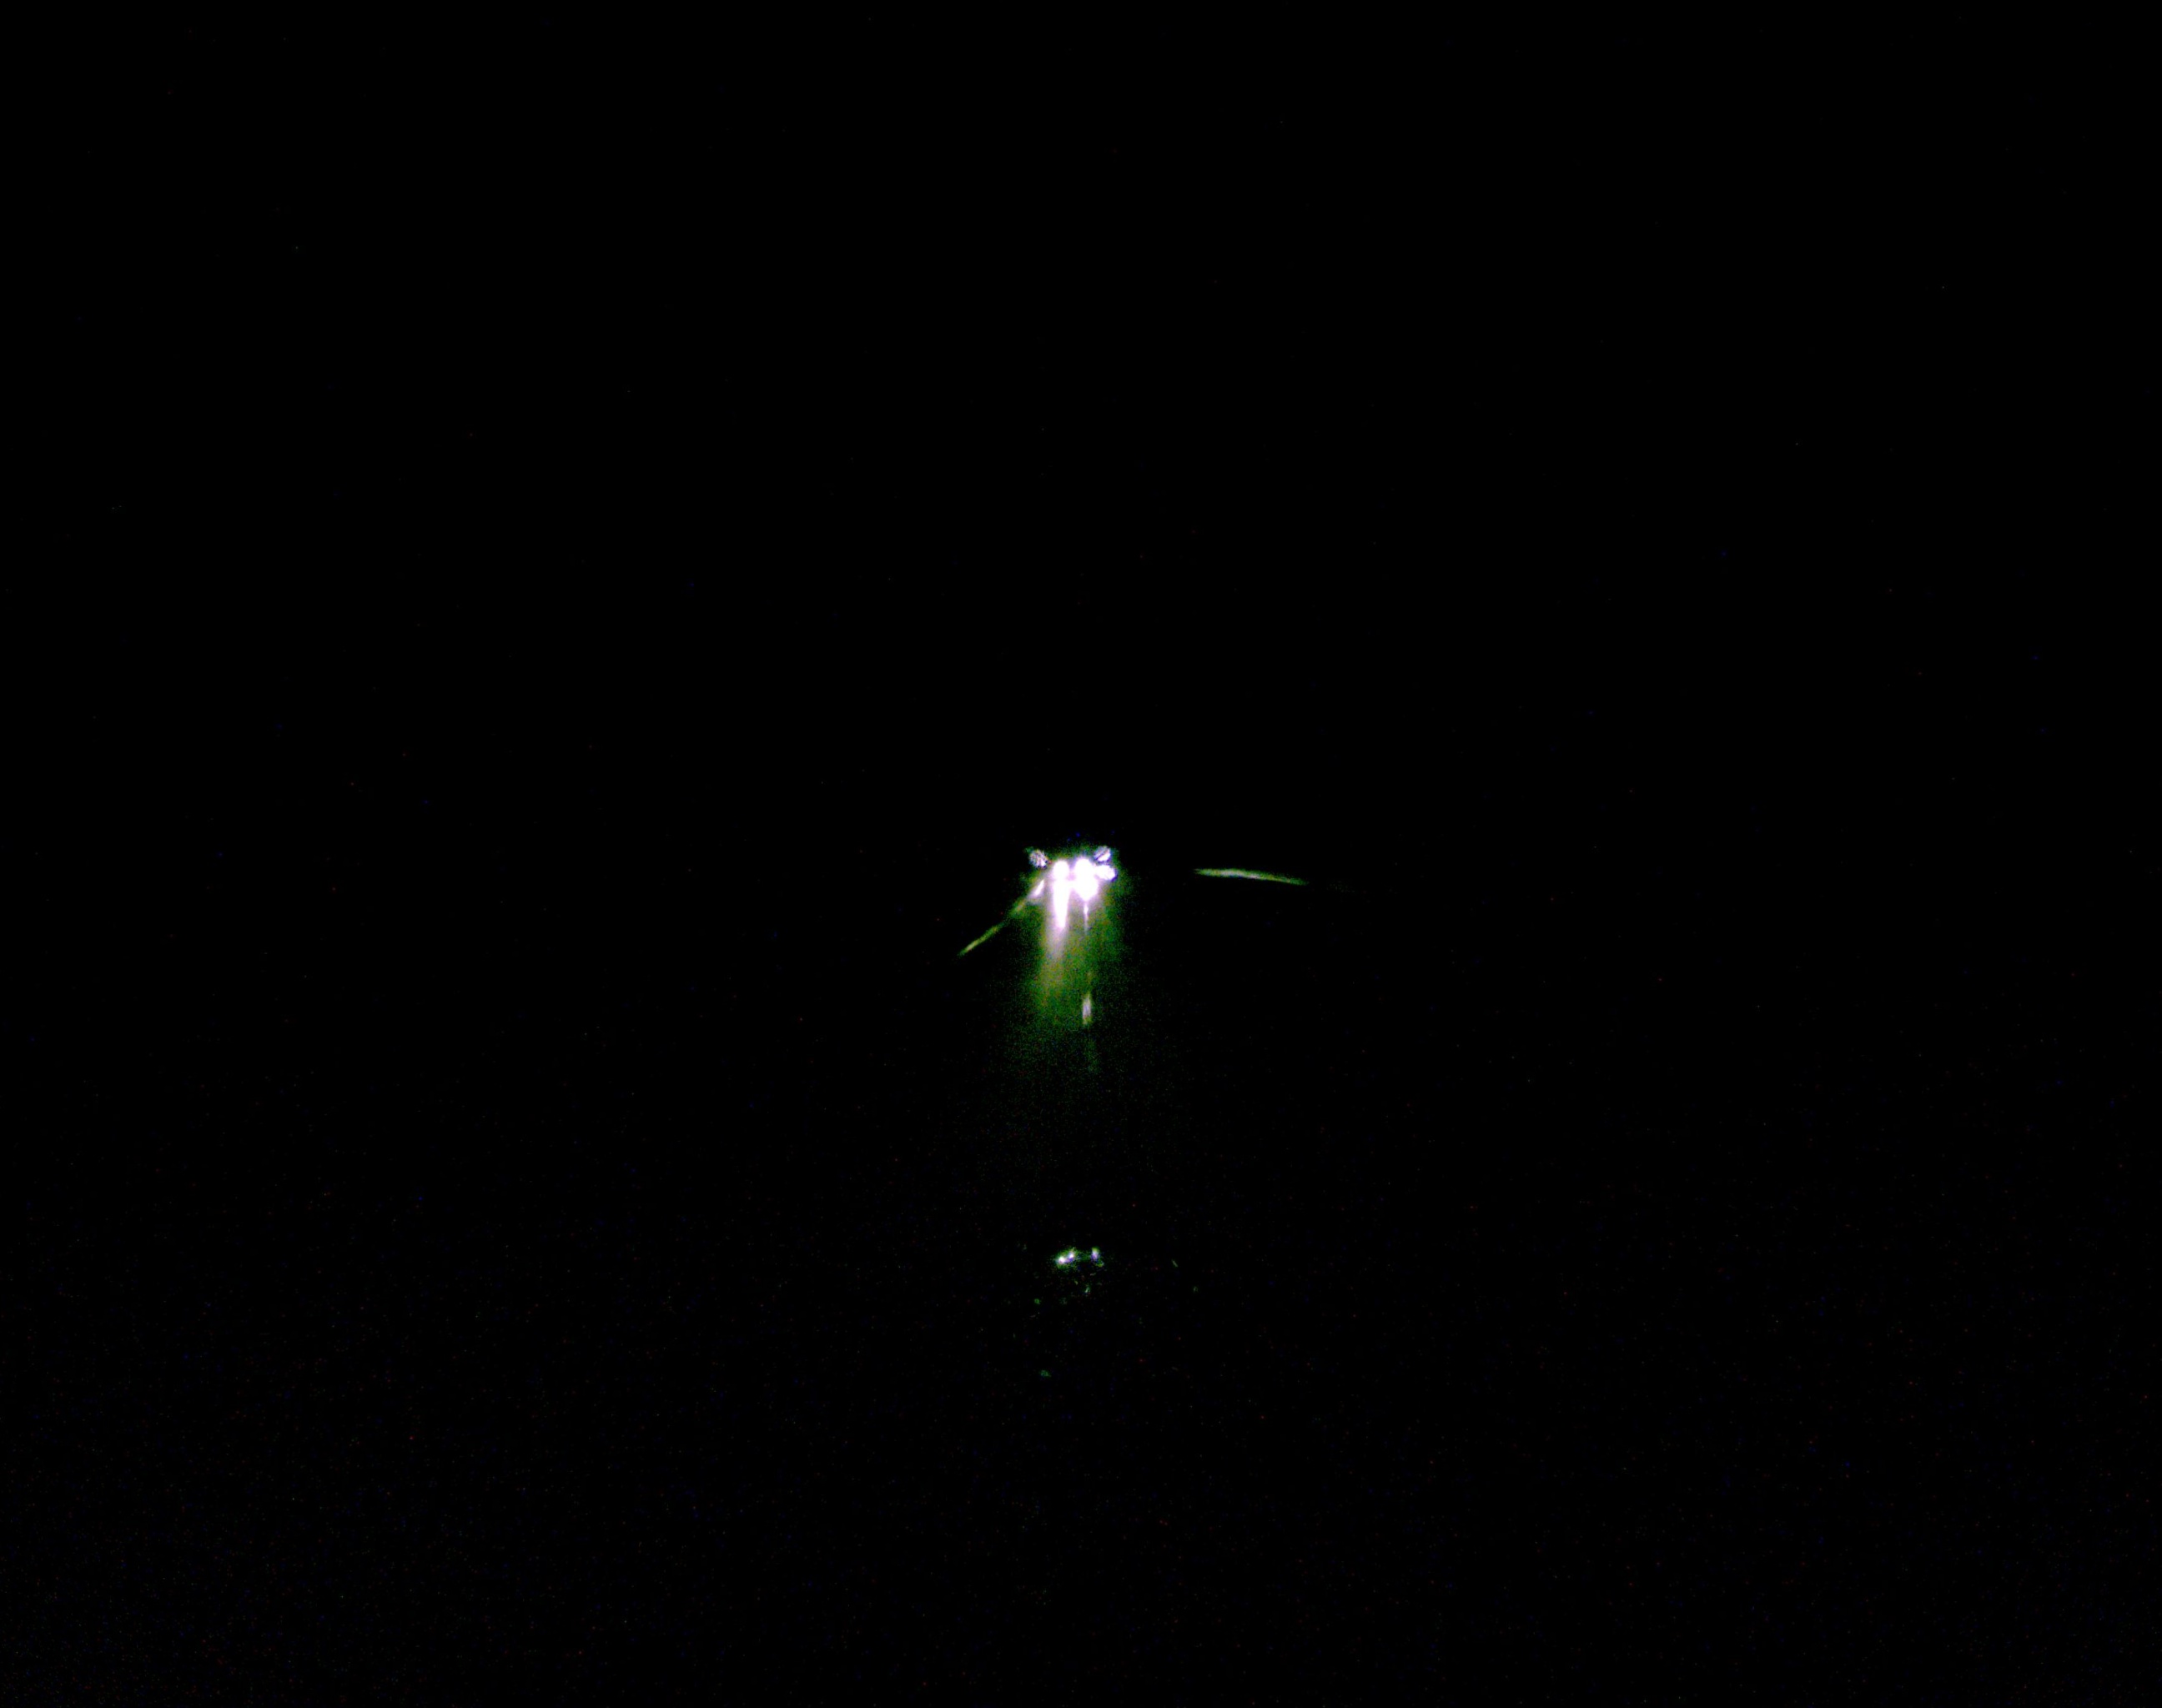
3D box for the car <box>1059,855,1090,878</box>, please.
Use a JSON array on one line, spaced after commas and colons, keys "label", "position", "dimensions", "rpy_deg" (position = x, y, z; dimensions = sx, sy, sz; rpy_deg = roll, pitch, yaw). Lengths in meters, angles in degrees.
[{"label": "car", "position": [-0.509, 0.874, 54.118], "dimensions": [1.777, 1.444, 4.134], "rpy_deg": [-2, 0, -5]}]
